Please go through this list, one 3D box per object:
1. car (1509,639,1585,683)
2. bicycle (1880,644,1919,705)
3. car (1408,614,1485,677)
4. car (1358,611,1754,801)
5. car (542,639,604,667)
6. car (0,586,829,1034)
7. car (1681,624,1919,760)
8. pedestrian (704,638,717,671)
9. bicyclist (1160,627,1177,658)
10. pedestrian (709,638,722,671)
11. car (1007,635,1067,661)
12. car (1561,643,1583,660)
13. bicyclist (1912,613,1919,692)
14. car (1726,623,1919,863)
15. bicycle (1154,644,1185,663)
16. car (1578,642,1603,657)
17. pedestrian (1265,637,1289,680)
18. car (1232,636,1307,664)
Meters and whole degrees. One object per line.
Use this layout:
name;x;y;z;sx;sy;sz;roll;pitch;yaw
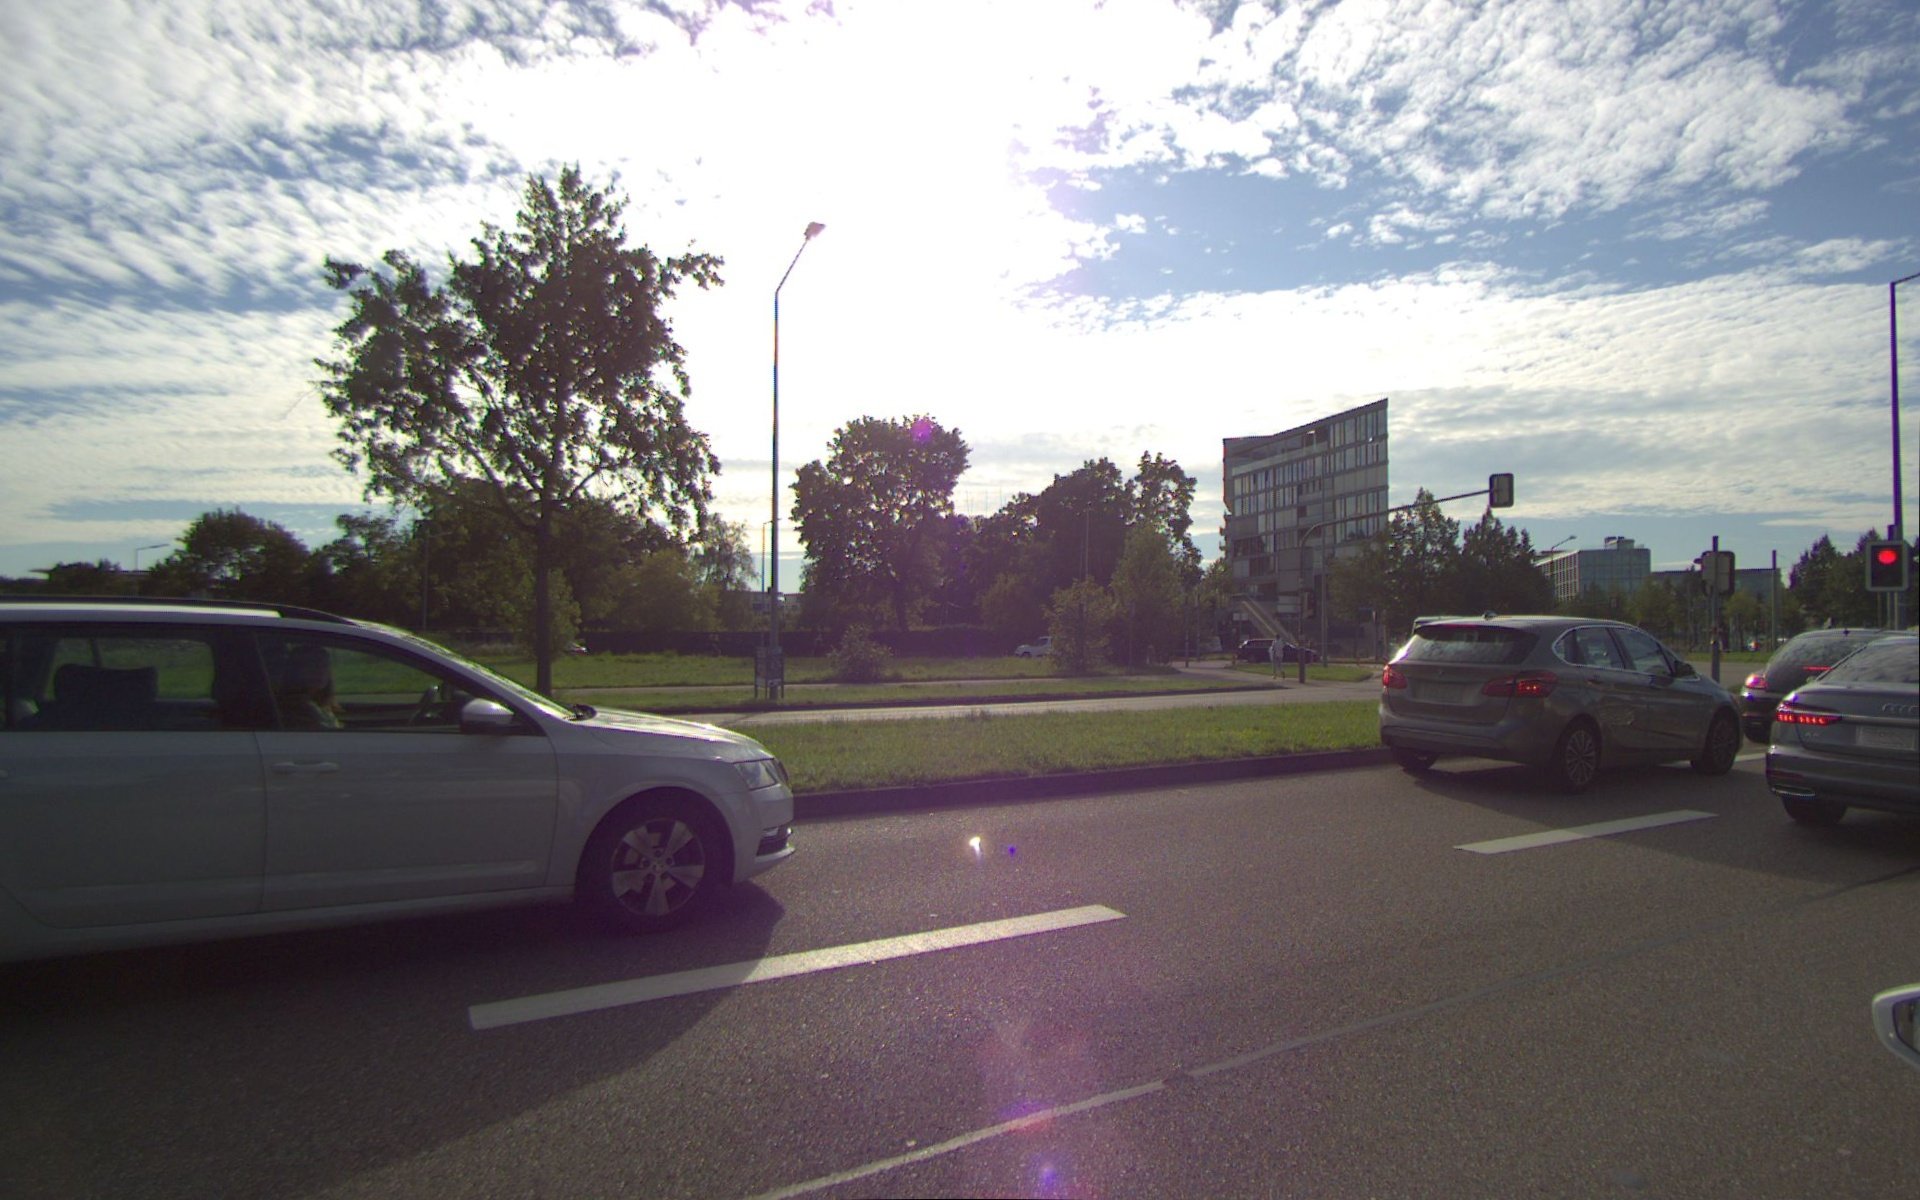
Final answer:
car;20.281;2.116;34.622;1.876;1.428;4.194;-4;-5;35
bicycle;19.220;1.471;19.690;1.707;1.179;0.652;-1;-2;45
car;19.180;1.821;39.472;1.966;2.264;5.910;-3;-4;33
car;6.059;0.938;10.125;3.971;1.579;1.721;1;-1;-30
car;-28.609;3.905;74.346;3.919;1.793;1.712;2;-1;13
car;-2.979;0.744;4.554;4.429;1.518;1.690;2;-1;-31
car;11.400;1.122;13.288;3.766;1.543;1.672;1;-1;-31
pedestrian;-15.506;3.383;62.417;0.675;2.040;0.641;0;-2;-5
bicyclist;11.260;2.292;54.222;0.544;1.690;0.783;2;-3;-34
pedestrian;-15.402;3.422;63.309;0.723;2.040;0.739;0;-2;-6
car;5.399;3.368;70.242;4.045;1.770;2.002;0;-2;10
car;56.172;4.744;92.133;1.570;1.433;3.662;-3;-6;33
bicyclist;19.247;1.025;19.671;0.840;1.546;0.736;-2;-3;44
car;7.968;0.976;7.611;4.559;1.502;1.881;2;-1;-31
bicycle;11.276;2.853;54.174;0.638;0.980;1.664;-1;-1;-34
car;65.725;5.173;104.731;1.589;1.484;3.730;-1;-2;22
pedestrian;11.928;2.187;37.804;0.609;1.589;0.651;2;-2;-34
car;17.922;2.892;58.126;3.863;1.572;1.757;-1;-3;29
